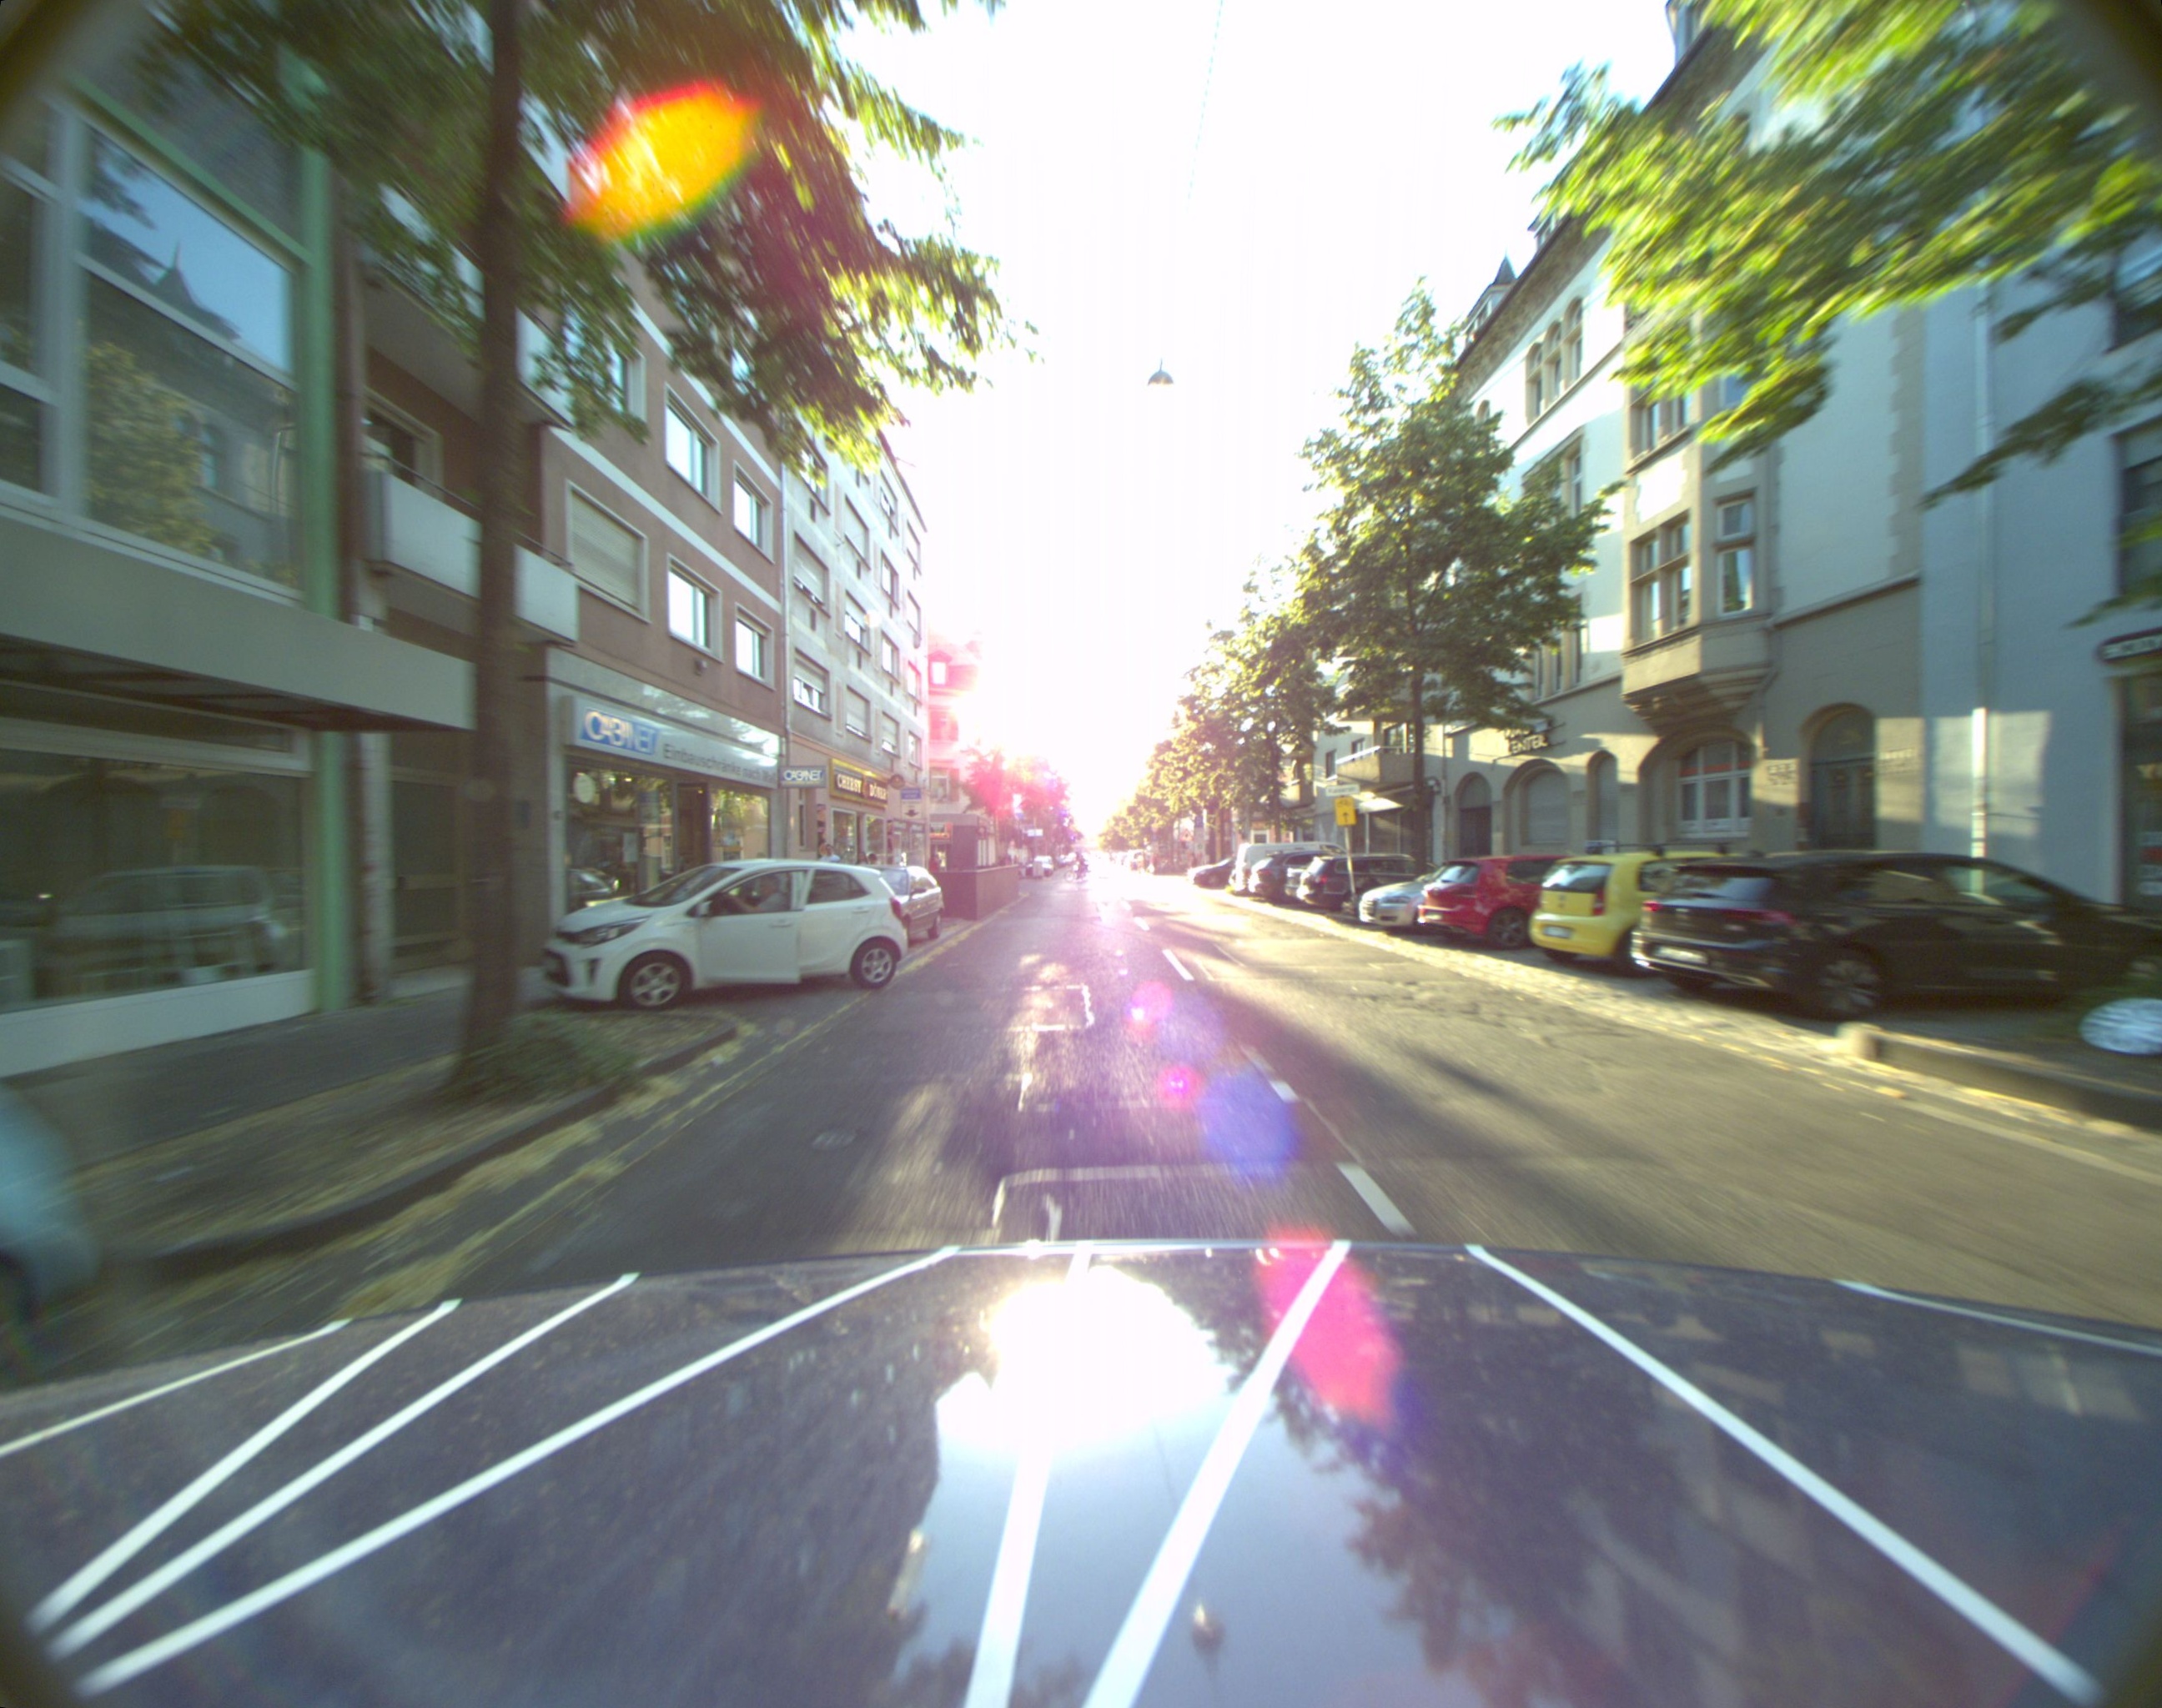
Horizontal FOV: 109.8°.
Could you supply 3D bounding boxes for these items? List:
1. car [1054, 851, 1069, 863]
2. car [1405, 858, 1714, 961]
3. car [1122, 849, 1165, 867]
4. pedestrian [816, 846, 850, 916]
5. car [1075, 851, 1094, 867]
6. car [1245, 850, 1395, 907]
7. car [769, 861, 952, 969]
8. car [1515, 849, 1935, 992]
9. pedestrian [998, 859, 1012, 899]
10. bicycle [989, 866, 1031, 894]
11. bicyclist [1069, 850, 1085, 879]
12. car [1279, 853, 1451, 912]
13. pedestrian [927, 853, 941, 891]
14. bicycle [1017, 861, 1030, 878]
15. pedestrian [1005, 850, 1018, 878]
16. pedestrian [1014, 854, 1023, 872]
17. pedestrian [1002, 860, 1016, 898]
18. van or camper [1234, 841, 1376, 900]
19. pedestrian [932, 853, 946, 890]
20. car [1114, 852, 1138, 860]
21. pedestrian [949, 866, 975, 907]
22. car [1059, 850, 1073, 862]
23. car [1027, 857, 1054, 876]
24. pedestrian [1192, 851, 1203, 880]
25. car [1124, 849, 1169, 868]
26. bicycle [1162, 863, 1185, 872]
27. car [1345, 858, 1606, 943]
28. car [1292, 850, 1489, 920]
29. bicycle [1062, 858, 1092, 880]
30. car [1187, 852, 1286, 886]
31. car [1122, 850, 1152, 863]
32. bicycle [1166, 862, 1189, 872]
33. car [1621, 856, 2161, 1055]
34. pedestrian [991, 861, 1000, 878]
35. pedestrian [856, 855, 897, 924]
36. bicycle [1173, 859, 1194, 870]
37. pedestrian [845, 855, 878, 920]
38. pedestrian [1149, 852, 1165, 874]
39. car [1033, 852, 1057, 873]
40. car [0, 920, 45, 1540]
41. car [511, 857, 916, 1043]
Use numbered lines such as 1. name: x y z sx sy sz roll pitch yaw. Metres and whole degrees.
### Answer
1. car: -2.646 0.389 104.906 1.825 1.658 4.155 -1 1 1
2. car: 7.497 0.826 12.166 3.876 1.448 1.744 -1 0 -2
3. car: 6.668 0.405 81.313 4.439 1.832 1.814 -2 1 -1
4. pedestrian: -6.267 0.680 19.188 0.607 1.729 0.668 -1 1 0
5. car: 0.355 0.474 77.042 1.825 1.469 4.155 -1 1 1
6. car: 7.444 0.748 23.956 4.193 1.659 1.732 -1 1 2
7. car: -3.637 0.933 13.345 1.830 1.465 3.991 3 0 2
8. car: 7.901 0.756 9.582 3.876 1.558 1.744 -1 0 -2
9. pedestrian: -2.877 0.947 28.696 0.448 1.472 0.547 1 1 1
10. bicycle: -3.139 1.142 33.469 2.055 1.208 0.479 0 1 37
11. bicyclist: -0.247 0.639 47.326 0.873 1.783 0.535 -1 1 -29
12. car: 7.934 0.779 21.502 4.194 1.434 1.732 -2 1 0
13. pedestrian: -6.379 0.786 32.989 0.493 1.614 0.573 1 1 1
14. bicycle: -3.966 1.067 52.647 0.478 1.101 2.062 -1 0 8
15. pedestrian: -4.662 0.647 50.968 0.719 1.864 0.756 1 1 1
16. pedestrian: -5.531 0.763 67.282 0.719 1.565 0.756 1 1 1
17. pedestrian: -2.813 0.960 29.722 0.448 1.472 0.563 1 1 1
18. van or camper: 7.770 0.567 26.706 4.469 1.945 1.789 -1 1 2
19. pedestrian: -6.385 0.769 34.107 0.493 1.614 0.573 1 1 1
20. car: 8.079 0.338 137.232 4.151 1.469 1.827 -1 0 1
21. pedestrian: -3.882 1.065 24.817 0.687 1.298 0.648 1 1 2
22. car: -2.207 0.306 112.110 1.825 1.658 4.155 -1 1 1
23. car: -3.163 0.959 60.064 1.825 1.344 4.155 -1 1 1
24. pedestrian: 6.794 0.654 44.193 0.550 1.638 0.721 -1 1 3
25. car: 6.700 0.444 78.312 4.439 1.832 1.814 -2 1 -1
26. bicycle: 7.438 1.090 61.221 1.796 0.761 0.408 -1 1 13
27. car: 7.384 0.824 14.460 4.052 1.379 1.744 -2 0 -3
28. car: 7.586 0.751 18.941 4.192 1.528 1.744 -2 1 4
29. bicycle: -0.239 0.920 47.318 1.833 1.335 0.405 -1 1 -29
30. car: 7.537 0.714 37.112 4.439 1.516 1.814 -2 0 -1
31. car: 7.881 0.346 106.976 4.152 1.771 1.826 -1 1 0
32. bicycle: 7.917 1.057 62.224 1.796 0.761 0.408 -1 1 13
33. car: 7.643 0.841 7.182 3.876 1.558 1.744 -1 0 -2
34. pedestrian: -5.817 1.053 51.686 0.551 1.128 0.648 1 1 1
35. pedestrian: -5.005 0.852 18.620 0.748 1.622 0.855 -1 1 0
36. bicycle: 8.593 0.892 63.855 1.801 0.858 0.444 -1 1 -24
37. pedestrian: -5.554 0.836 19.233 0.607 1.622 0.668 -1 1 0
38. pedestrian: 5.933 0.694 59.458 0.898 1.671 0.795 -1 1 -36
39. car: -3.180 0.725 67.115 1.825 1.658 4.155 -1 1 1
40. car: -3.519 0.924 0.176 1.695 1.534 3.552 1 0 0
41. car: -3.824 0.863 8.356 1.661 1.574 3.632 0 -1 42
